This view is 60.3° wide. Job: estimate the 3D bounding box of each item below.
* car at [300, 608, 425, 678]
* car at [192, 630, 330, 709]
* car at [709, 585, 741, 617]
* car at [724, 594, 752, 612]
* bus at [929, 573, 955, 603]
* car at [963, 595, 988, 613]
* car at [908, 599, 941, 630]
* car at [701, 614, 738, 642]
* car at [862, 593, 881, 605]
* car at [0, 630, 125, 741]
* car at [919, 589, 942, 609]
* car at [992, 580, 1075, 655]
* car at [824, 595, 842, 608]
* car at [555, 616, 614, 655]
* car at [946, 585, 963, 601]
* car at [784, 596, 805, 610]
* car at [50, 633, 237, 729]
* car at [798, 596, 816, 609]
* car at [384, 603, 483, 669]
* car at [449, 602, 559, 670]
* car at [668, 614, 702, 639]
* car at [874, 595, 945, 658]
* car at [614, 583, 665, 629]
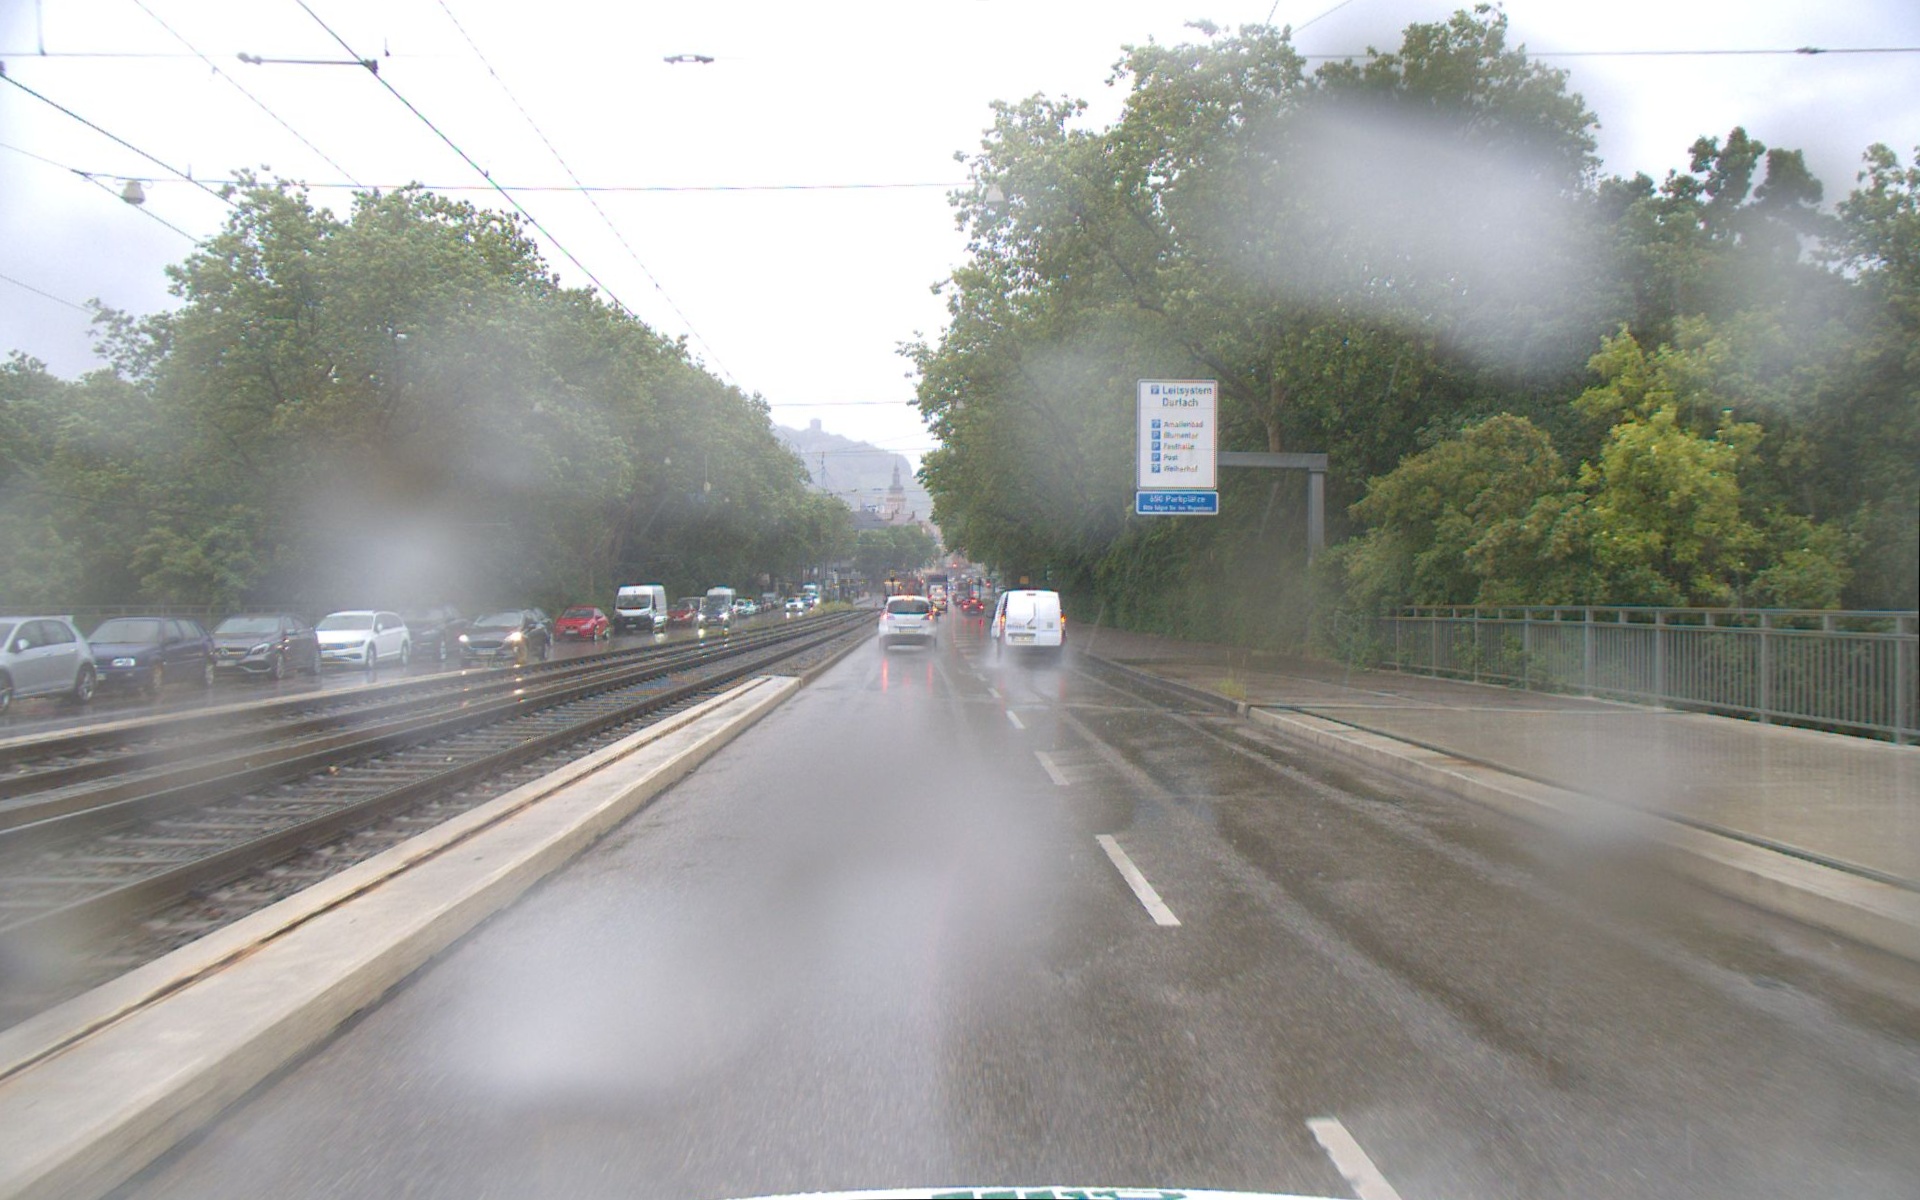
[{"bbox_3d":[-15.318,1.060,42.637,1.476,1.424,4.892,-6,1,-2],"label":"car"},{"bbox_3d":[-15.276,1.472,36.369,1.477,1.425,4.403,-2,1,-6],"label":"car"},{"bbox_3d":[-17.708,0.072,124.827,1.764,2.260,4.276,-2,1,-1],"label":"car"},{"bbox_3d":[-18.663,0.270,139.208,1.768,1.373,4.263,-2,1,-1],"label":"car"},{"bbox_3d":[-2.409,-1.708,229.045,3.320,3.903,9.740,1,1,1],"label":"bus"},{"bbox_3d":[1.240,0.289,129.655,1.952,1.344,4.001,1,1,1],"label":"car"},{"bbox_3d":[-2.245,0.895,106.733,1.952,1.858,4.001,1,1,1],"label":"car"},{"bbox_3d":[-14.129,1.632,97.318,1.475,1.425,4.707,-2,1,-1],"label":"car"},{"bbox_3d":[-10.972,-0.105,204.322,1.767,1.373,4.266,-2,1,4],"label":"car"},{"bbox_3d":[-15.106,1.337,25.991,1.826,1.481,4.318,-2,1,-2],"label":"car"},{"bbox_3d":[-2.772,-0.109,156.420,1.952,1.858,4.001,1,1,1],"label":"car"},{"bbox_3d":[1.812,0.405,41.993,1.952,1.756,4.001,1,1,1],"label":"car"},{"bbox_3d":[-14.444,0.186,188.253,1.769,1.373,4.262,-2,1,-2],"label":"car"},{"bbox_3d":[-16.199,1.518,71.506,1.577,1.467,4.261,-2,1,-1],"label":"car"},{"bbox_3d":[-0.648,-0.805,198.658,1.952,1.858,4.001,1,1,1],"label":"car"},{"bbox_3d":[-17.153,0.300,171.522,1.768,1.373,4.263,-2,1,-1],"label":"car"},{"bbox_3d":[-15.095,1.448,30.821,1.476,1.425,4.280,-2,1,-3],"label":"car"},{"bbox_3d":[-18.218,0.336,197.306,1.768,1.373,4.263,-2,1,-1],"label":"car"},{"bbox_3d":[-15.441,1.015,48.733,1.476,1.701,4.832,-2,1,-2],"label":"car"},{"bbox_3d":[-12.090,0.910,44.102,1.779,1.391,4.266,1,4,-1],"label":"car"},{"bbox_3d":[-17.029,1.640,102.677,1.475,1.373,4.026,-2,1,-1],"label":"car"},{"bbox_3d":[-1.498,0.777,50.643,1.952,1.747,4.001,1,1,1],"label":"car"},{"bbox_3d":[-16.856,0.293,87.166,1.706,2.207,5.812,-2,1,-3],"label":"car"}]
